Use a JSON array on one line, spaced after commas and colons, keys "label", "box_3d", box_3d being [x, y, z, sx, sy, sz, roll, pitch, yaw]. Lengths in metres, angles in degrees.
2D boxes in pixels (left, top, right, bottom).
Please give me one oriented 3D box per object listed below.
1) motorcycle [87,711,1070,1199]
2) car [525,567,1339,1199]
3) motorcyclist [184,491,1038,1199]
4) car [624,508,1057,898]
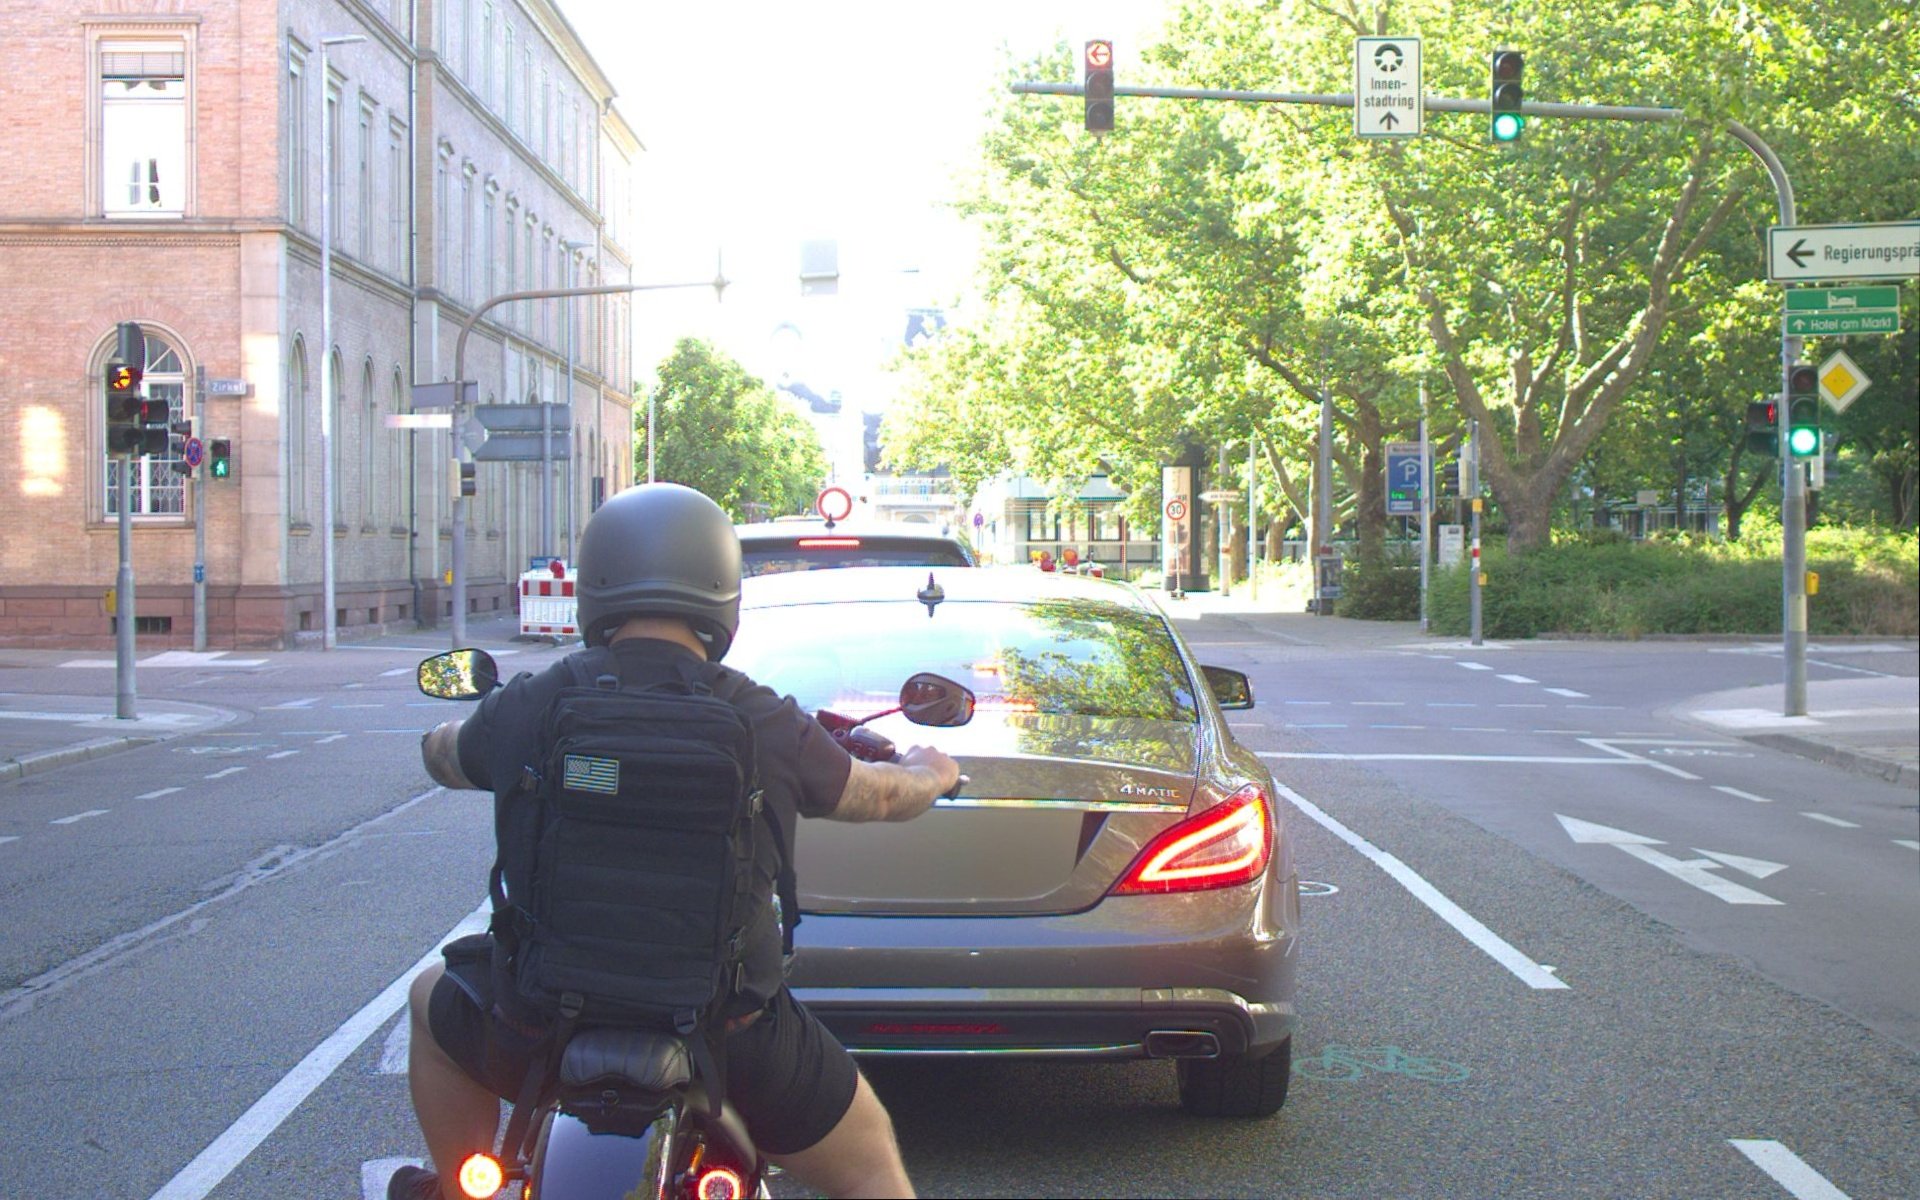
[{"label": "motorcycle", "box_3d": [-0.468, 0.835, 5.510, 1.118, 1.203, 2.212, 1, 1, 6]}, {"label": "car", "box_3d": [-0.084, 0.637, 9.674, 1.822, 1.432, 3.806, 1, 1, -1]}, {"label": "motorcyclist", "box_3d": [-0.482, 0.631, 5.286, 1.099, 1.560, 1.071, 1, 0, 6]}, {"label": "car", "box_3d": [-0.543, 0.430, 16.952, 1.863, 1.672, 4.000, 1, 1, -1]}]
